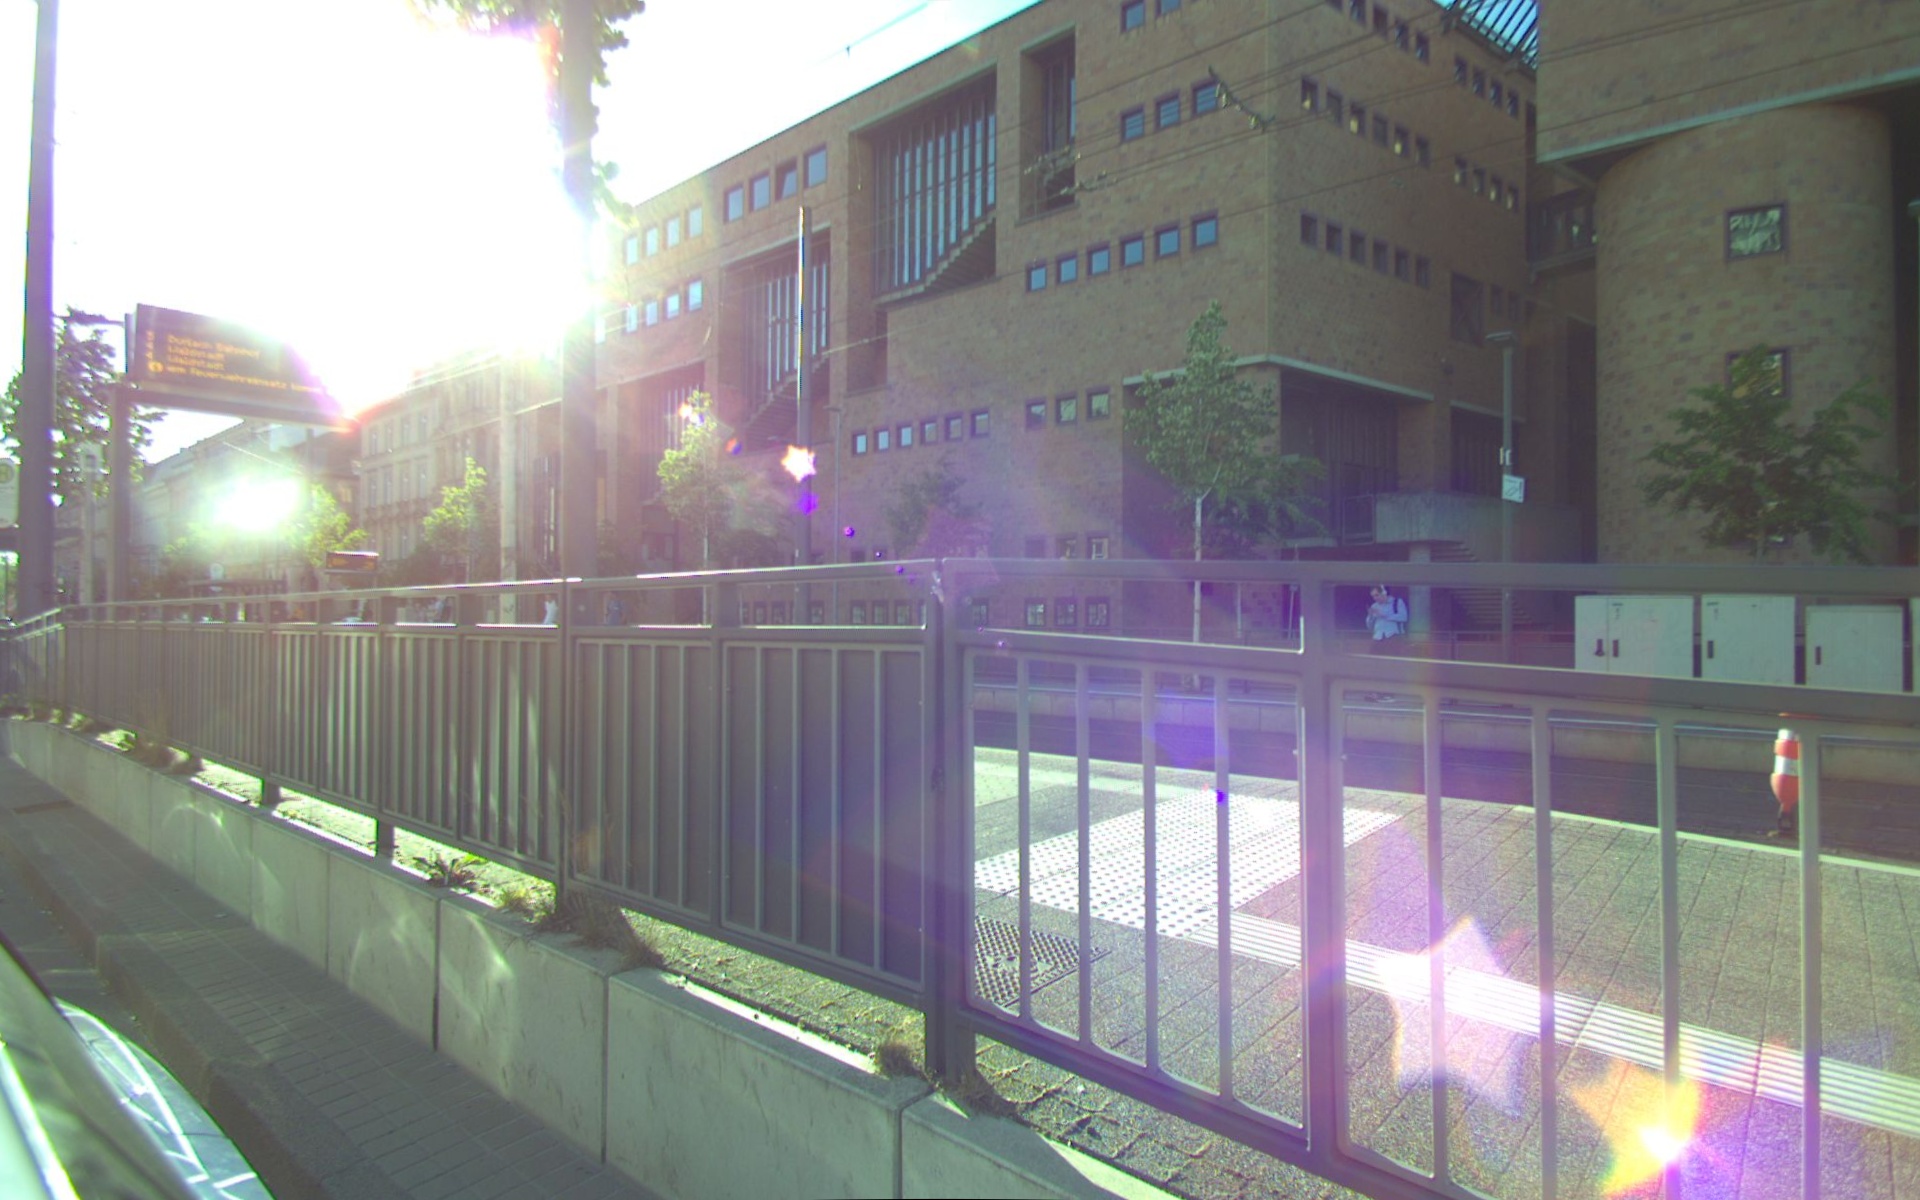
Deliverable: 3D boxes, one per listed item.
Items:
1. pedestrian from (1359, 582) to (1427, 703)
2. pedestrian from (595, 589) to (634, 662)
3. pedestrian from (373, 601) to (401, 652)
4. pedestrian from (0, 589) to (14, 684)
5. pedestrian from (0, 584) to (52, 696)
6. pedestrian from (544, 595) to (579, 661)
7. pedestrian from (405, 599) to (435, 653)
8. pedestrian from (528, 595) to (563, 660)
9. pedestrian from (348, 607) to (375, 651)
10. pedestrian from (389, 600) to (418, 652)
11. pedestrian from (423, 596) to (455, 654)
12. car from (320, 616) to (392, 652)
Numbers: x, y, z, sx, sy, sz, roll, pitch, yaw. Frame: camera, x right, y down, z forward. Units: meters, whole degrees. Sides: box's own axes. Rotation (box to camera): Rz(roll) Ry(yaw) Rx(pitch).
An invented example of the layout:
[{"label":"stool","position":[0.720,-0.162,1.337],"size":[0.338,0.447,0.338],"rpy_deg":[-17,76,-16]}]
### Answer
[{"label":"pedestrian","position":[5.744,0.549,13.409],"size":[0.653,1.546,0.693],"rpy_deg":[-1,-2,38]},{"label":"pedestrian","position":[-8.422,0.622,24.664],"size":[0.586,1.755,0.684],"rpy_deg":[-2,-2,38]},{"label":"pedestrian","position":[-19.838,0.915,35.048],"size":[0.586,1.755,0.684],"rpy_deg":[-2,-2,38]},{"label":"pedestrian","position":[-20.975,0.777,21.780],"size":[0.879,2.029,0.774],"rpy_deg":[-2,-2,39]},{"label":"pedestrian","position":[-17.455,0.731,18.786],"size":[0.880,2.029,0.774],"rpy_deg":[-2,-2,42]},{"label":"pedestrian","position":[-10.806,0.766,27.456],"size":[0.586,1.755,0.684],"rpy_deg":[-2,-2,38]},{"label":"pedestrian","position":[-17.821,0.861,33.391],"size":[0.586,1.755,0.684],"rpy_deg":[-2,-2,38]},{"label":"pedestrian","position":[-11.462,0.759,27.971],"size":[0.586,1.755,0.684],"rpy_deg":[-2,-2,38]},{"label":"pedestrian","position":[-21.772,1.046,36.803],"size":[0.586,1.587,0.684],"rpy_deg":[-2,-2,38]},{"label":"pedestrian","position":[-18.840,0.874,34.269],"size":[0.586,1.755,0.684],"rpy_deg":[-2,-2,38]},{"label":"pedestrian","position":[-16.069,0.777,31.229],"size":[0.586,1.755,0.684],"rpy_deg":[-2,-2,38]},{"label":"car","position":[-26.658,1.487,44.627],"size":[3.702,1.497,1.681],"rpy_deg":[-2,-2,41]}]
